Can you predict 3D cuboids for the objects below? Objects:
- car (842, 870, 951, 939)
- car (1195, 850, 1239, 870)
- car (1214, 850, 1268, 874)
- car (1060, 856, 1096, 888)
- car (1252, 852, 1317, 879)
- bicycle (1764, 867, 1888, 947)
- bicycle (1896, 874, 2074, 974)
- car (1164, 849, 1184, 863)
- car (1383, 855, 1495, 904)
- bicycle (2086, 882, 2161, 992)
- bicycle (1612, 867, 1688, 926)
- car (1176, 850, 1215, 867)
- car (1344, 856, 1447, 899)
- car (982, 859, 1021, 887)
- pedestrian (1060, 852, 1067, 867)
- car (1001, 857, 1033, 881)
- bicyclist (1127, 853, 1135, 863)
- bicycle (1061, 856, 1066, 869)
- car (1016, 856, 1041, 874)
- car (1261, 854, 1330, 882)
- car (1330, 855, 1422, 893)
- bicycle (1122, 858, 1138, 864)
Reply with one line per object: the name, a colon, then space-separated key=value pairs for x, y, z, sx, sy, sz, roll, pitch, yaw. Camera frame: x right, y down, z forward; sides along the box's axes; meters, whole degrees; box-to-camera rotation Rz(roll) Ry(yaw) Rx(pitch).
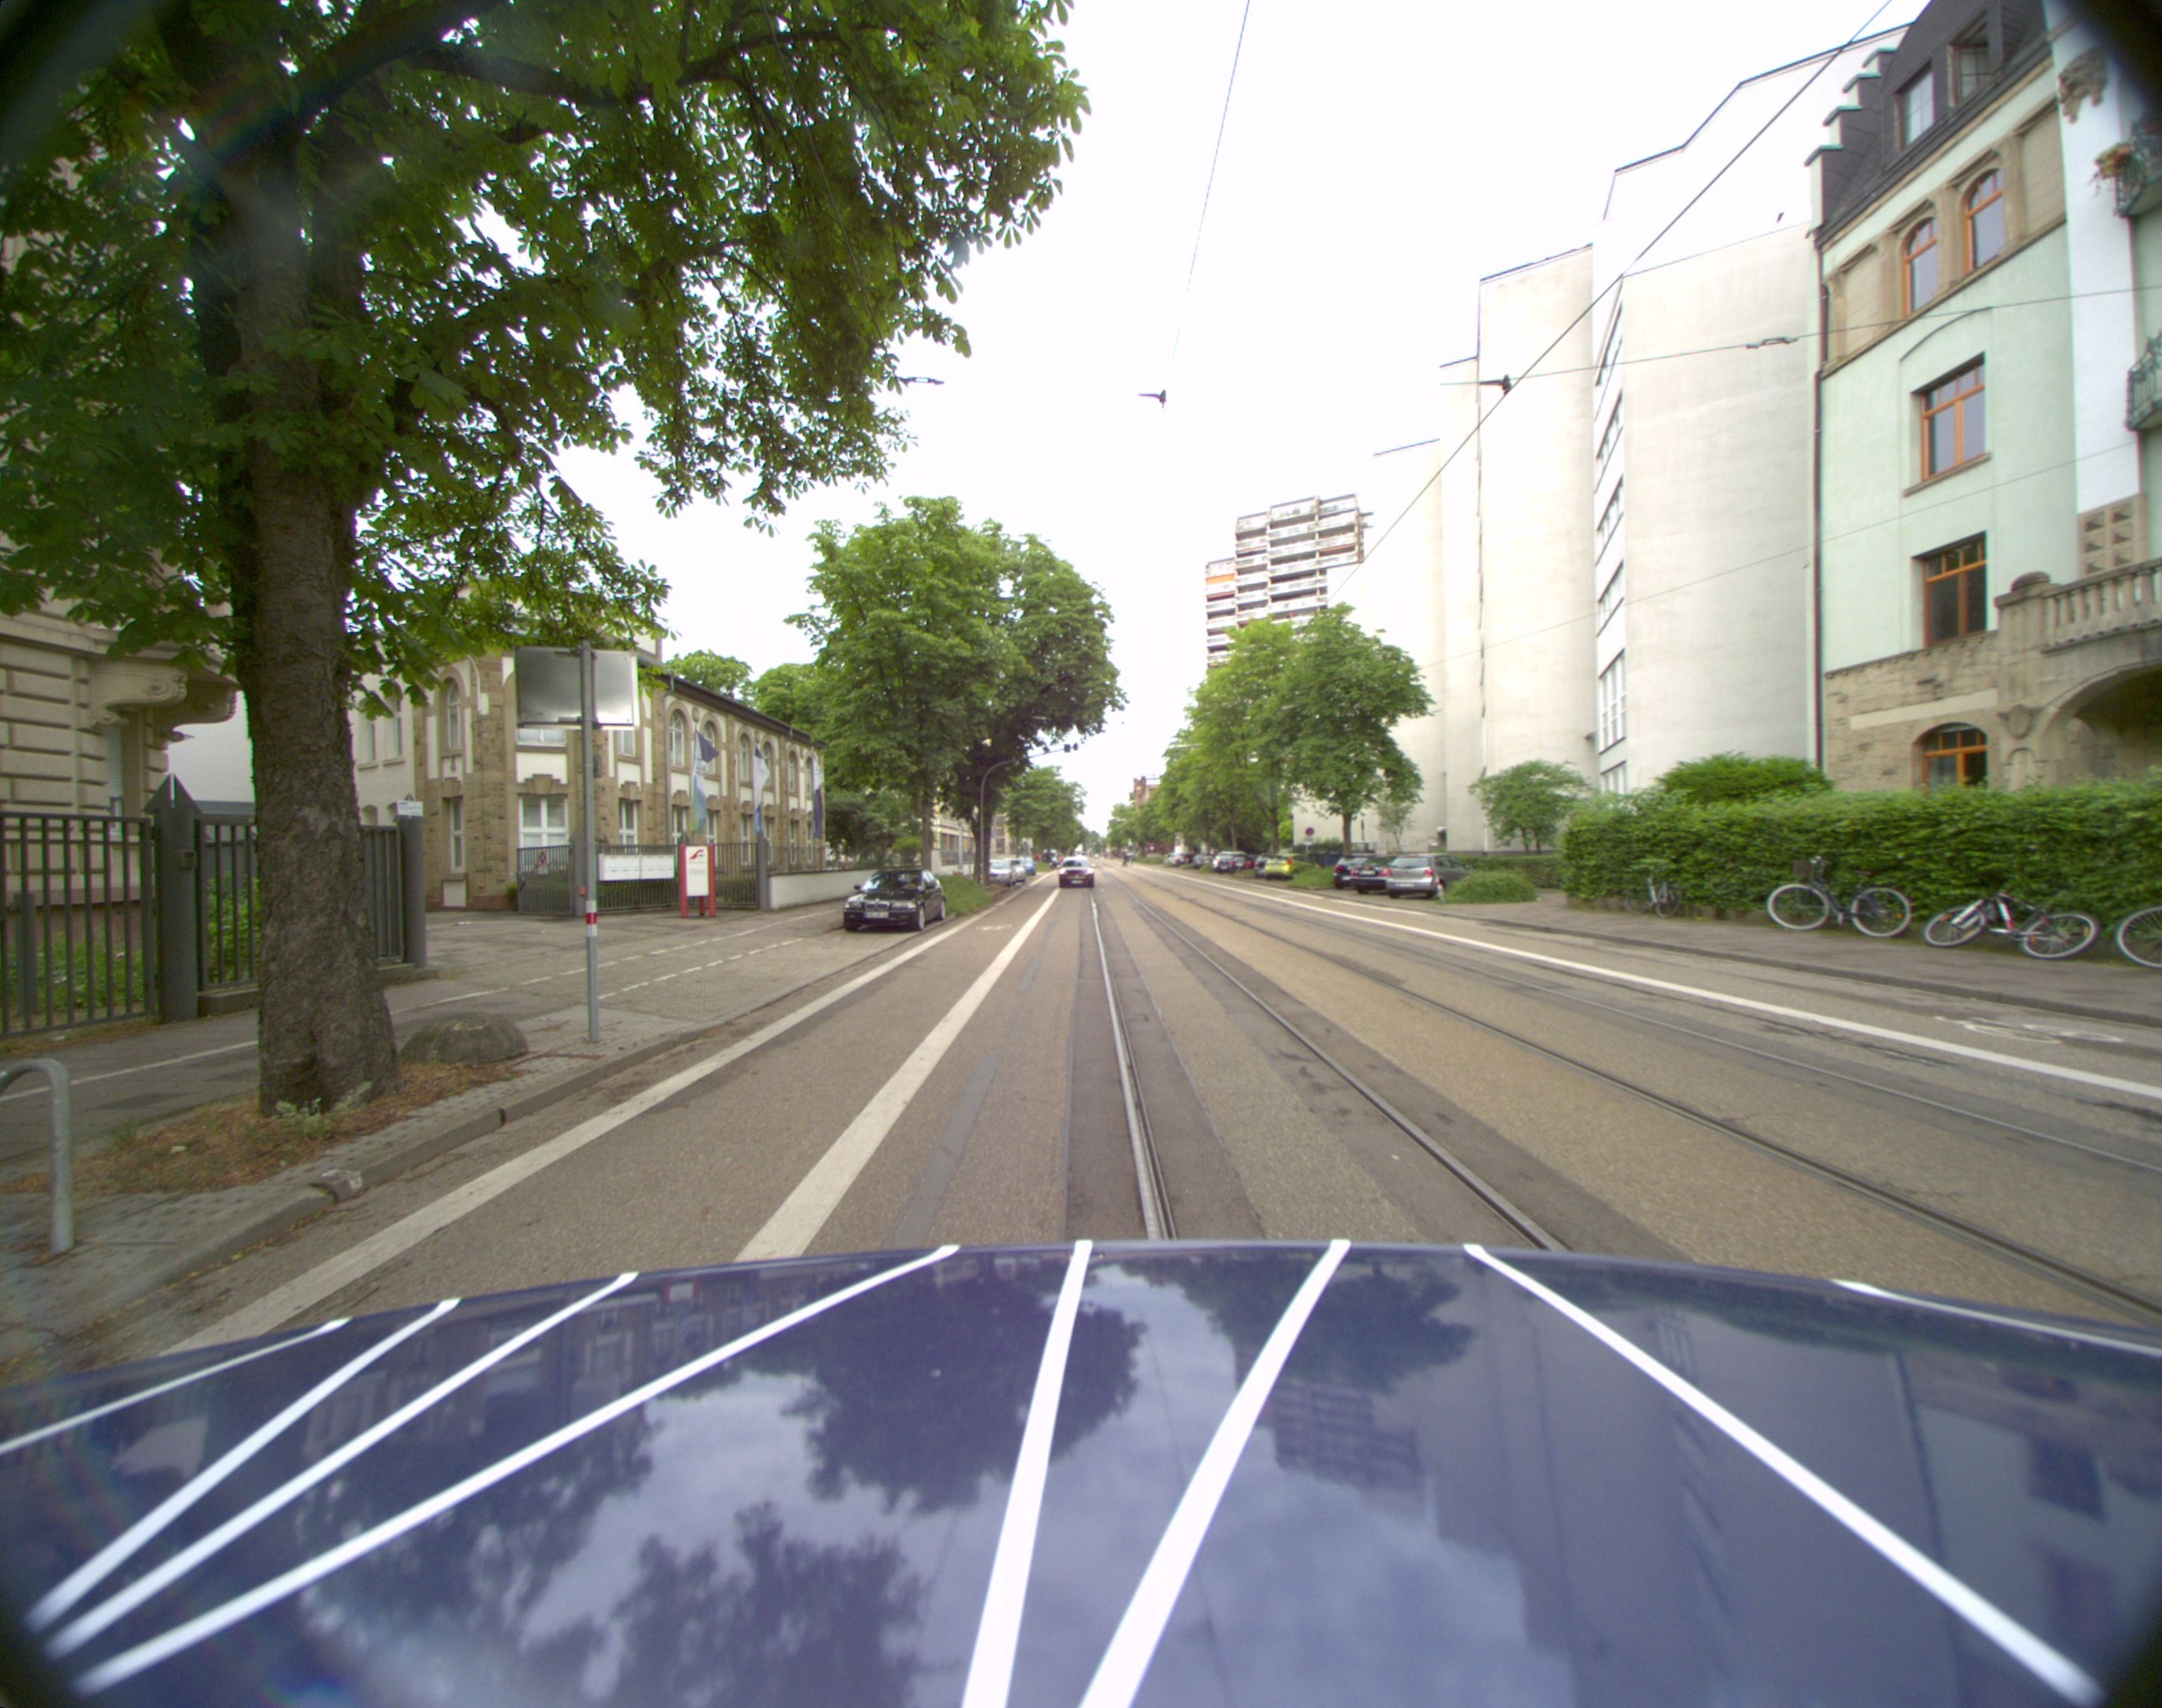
car: x=-4.287 y=1.117 z=18.183 sx=1.606 sy=1.362 sz=3.837 roll=1 pitch=0 yaw=1
car: x=11.963 y=0.498 z=66.858 sx=4.008 sy=1.611 sz=1.690 roll=-1 pitch=1 yaw=-43
car: x=11.307 y=0.548 z=53.499 sx=4.008 sy=1.611 sz=1.690 roll=-1 pitch=1 yaw=-43
car: x=-0.095 y=0.858 z=37.569 sx=1.606 sy=1.427 sz=3.777 roll=-3 pitch=0 yaw=2
car: x=11.767 y=0.637 z=43.770 sx=4.008 sy=1.434 sz=1.690 roll=-1 pitch=1 yaw=-43
bicycle: x=11.189 y=0.760 z=11.474 sx=0.360 sy=1.077 sz=1.546 roll=-1 pitch=0 yaw=1
bicycle: x=11.086 y=0.815 z=9.394 sx=0.360 sy=1.077 sz=1.546 roll=-1 pitch=0 yaw=1
car: x=10.595 y=0.202 z=87.046 sx=1.694 sy=1.611 sz=3.999 roll=-1 pitch=0 yaw=-1
car: x=11.581 y=0.775 z=24.492 sx=4.008 sy=1.395 sz=1.691 roll=-1 pitch=1 yaw=-39
bicycle: x=11.019 y=0.842 z=7.427 sx=0.360 sy=1.077 sz=1.546 roll=-1 pitch=0 yaw=1
bicycle: x=11.211 y=0.814 z=15.015 sx=0.360 sy=1.077 sz=1.546 roll=-1 pitch=0 yaw=1
car: x=11.606 y=0.450 z=76.745 sx=4.008 sy=1.611 sz=1.690 roll=-1 pitch=1 yaw=-43
car: x=11.373 y=0.792 z=27.385 sx=4.008 sy=1.395 sz=1.691 roll=-1 pitch=1 yaw=-39
car: x=-4.208 y=0.987 z=40.756 sx=1.606 sy=1.362 sz=3.837 roll=1 pitch=0 yaw=1
pedestrian: x=-1.793 y=0.538 z=77.012 sx=0.684 sy=1.541 sz=0.704 roll=-1 pitch=1 yaw=1
car: x=-4.019 y=0.934 z=47.894 sx=1.606 sy=1.416 sz=3.837 roll=1 pitch=0 yaw=1
bicyclist: x=5.992 y=0.482 z=91.251 sx=0.875 sy=1.247 sz=0.752 roll=-1 pitch=1 yaw=2
bicycle: x=-1.791 y=0.850 z=77.061 sx=0.414 sy=1.197 sz=1.707 roll=-1 pitch=1 yaw=1
car: x=-4.141 y=0.839 z=60.409 sx=1.606 sy=1.362 sz=3.837 roll=1 pitch=0 yaw=1
car: x=11.515 y=0.734 z=40.724 sx=4.008 sy=1.387 sz=1.690 roll=-1 pitch=1 yaw=-43
car: x=11.890 y=0.765 z=30.547 sx=4.008 sy=1.395 sz=1.691 roll=-1 pitch=1 yaw=-39
bicycle: x=5.906 y=0.841 z=91.244 sx=1.888 sy=0.784 sz=0.568 roll=-1 pitch=1 yaw=2
